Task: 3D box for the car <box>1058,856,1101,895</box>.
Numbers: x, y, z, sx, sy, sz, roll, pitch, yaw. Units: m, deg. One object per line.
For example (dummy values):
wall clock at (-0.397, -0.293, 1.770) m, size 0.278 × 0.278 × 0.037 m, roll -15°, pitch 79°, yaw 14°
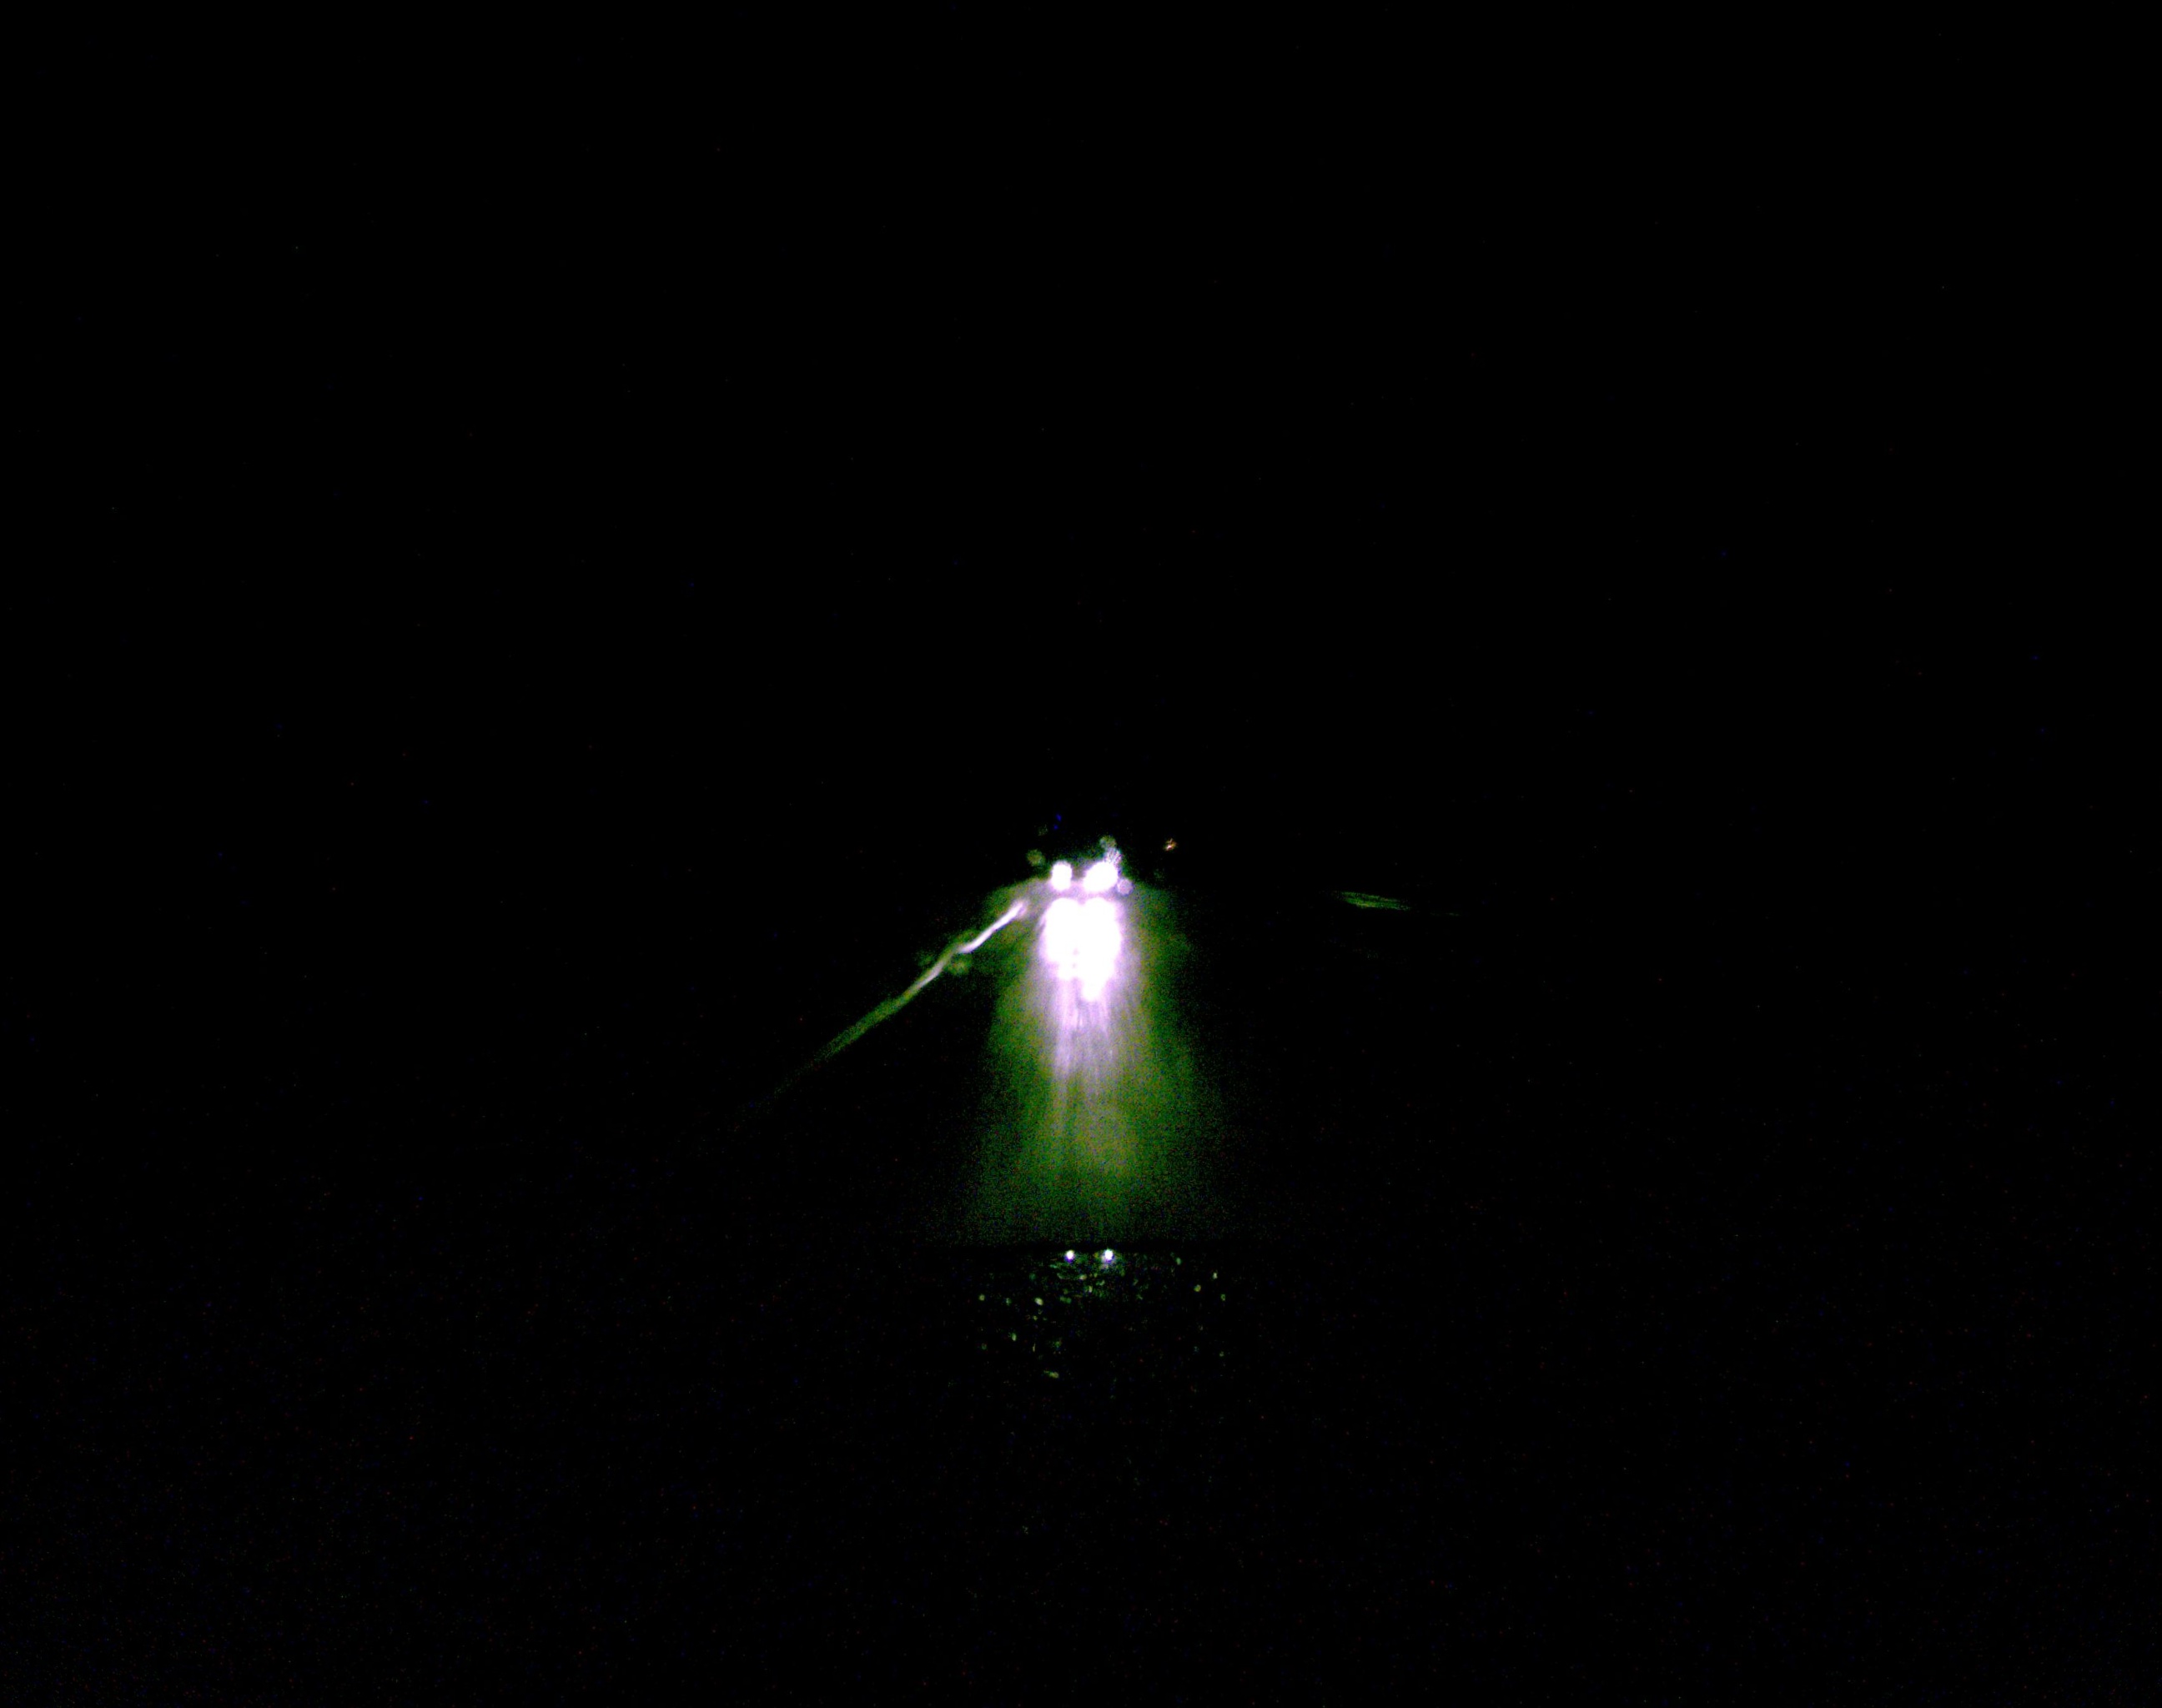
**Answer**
car at (-0.039, 0.903, 33.510) m, size 1.793 × 1.593 × 4.000 m, roll 0°, pitch 0°, yaw 1°
